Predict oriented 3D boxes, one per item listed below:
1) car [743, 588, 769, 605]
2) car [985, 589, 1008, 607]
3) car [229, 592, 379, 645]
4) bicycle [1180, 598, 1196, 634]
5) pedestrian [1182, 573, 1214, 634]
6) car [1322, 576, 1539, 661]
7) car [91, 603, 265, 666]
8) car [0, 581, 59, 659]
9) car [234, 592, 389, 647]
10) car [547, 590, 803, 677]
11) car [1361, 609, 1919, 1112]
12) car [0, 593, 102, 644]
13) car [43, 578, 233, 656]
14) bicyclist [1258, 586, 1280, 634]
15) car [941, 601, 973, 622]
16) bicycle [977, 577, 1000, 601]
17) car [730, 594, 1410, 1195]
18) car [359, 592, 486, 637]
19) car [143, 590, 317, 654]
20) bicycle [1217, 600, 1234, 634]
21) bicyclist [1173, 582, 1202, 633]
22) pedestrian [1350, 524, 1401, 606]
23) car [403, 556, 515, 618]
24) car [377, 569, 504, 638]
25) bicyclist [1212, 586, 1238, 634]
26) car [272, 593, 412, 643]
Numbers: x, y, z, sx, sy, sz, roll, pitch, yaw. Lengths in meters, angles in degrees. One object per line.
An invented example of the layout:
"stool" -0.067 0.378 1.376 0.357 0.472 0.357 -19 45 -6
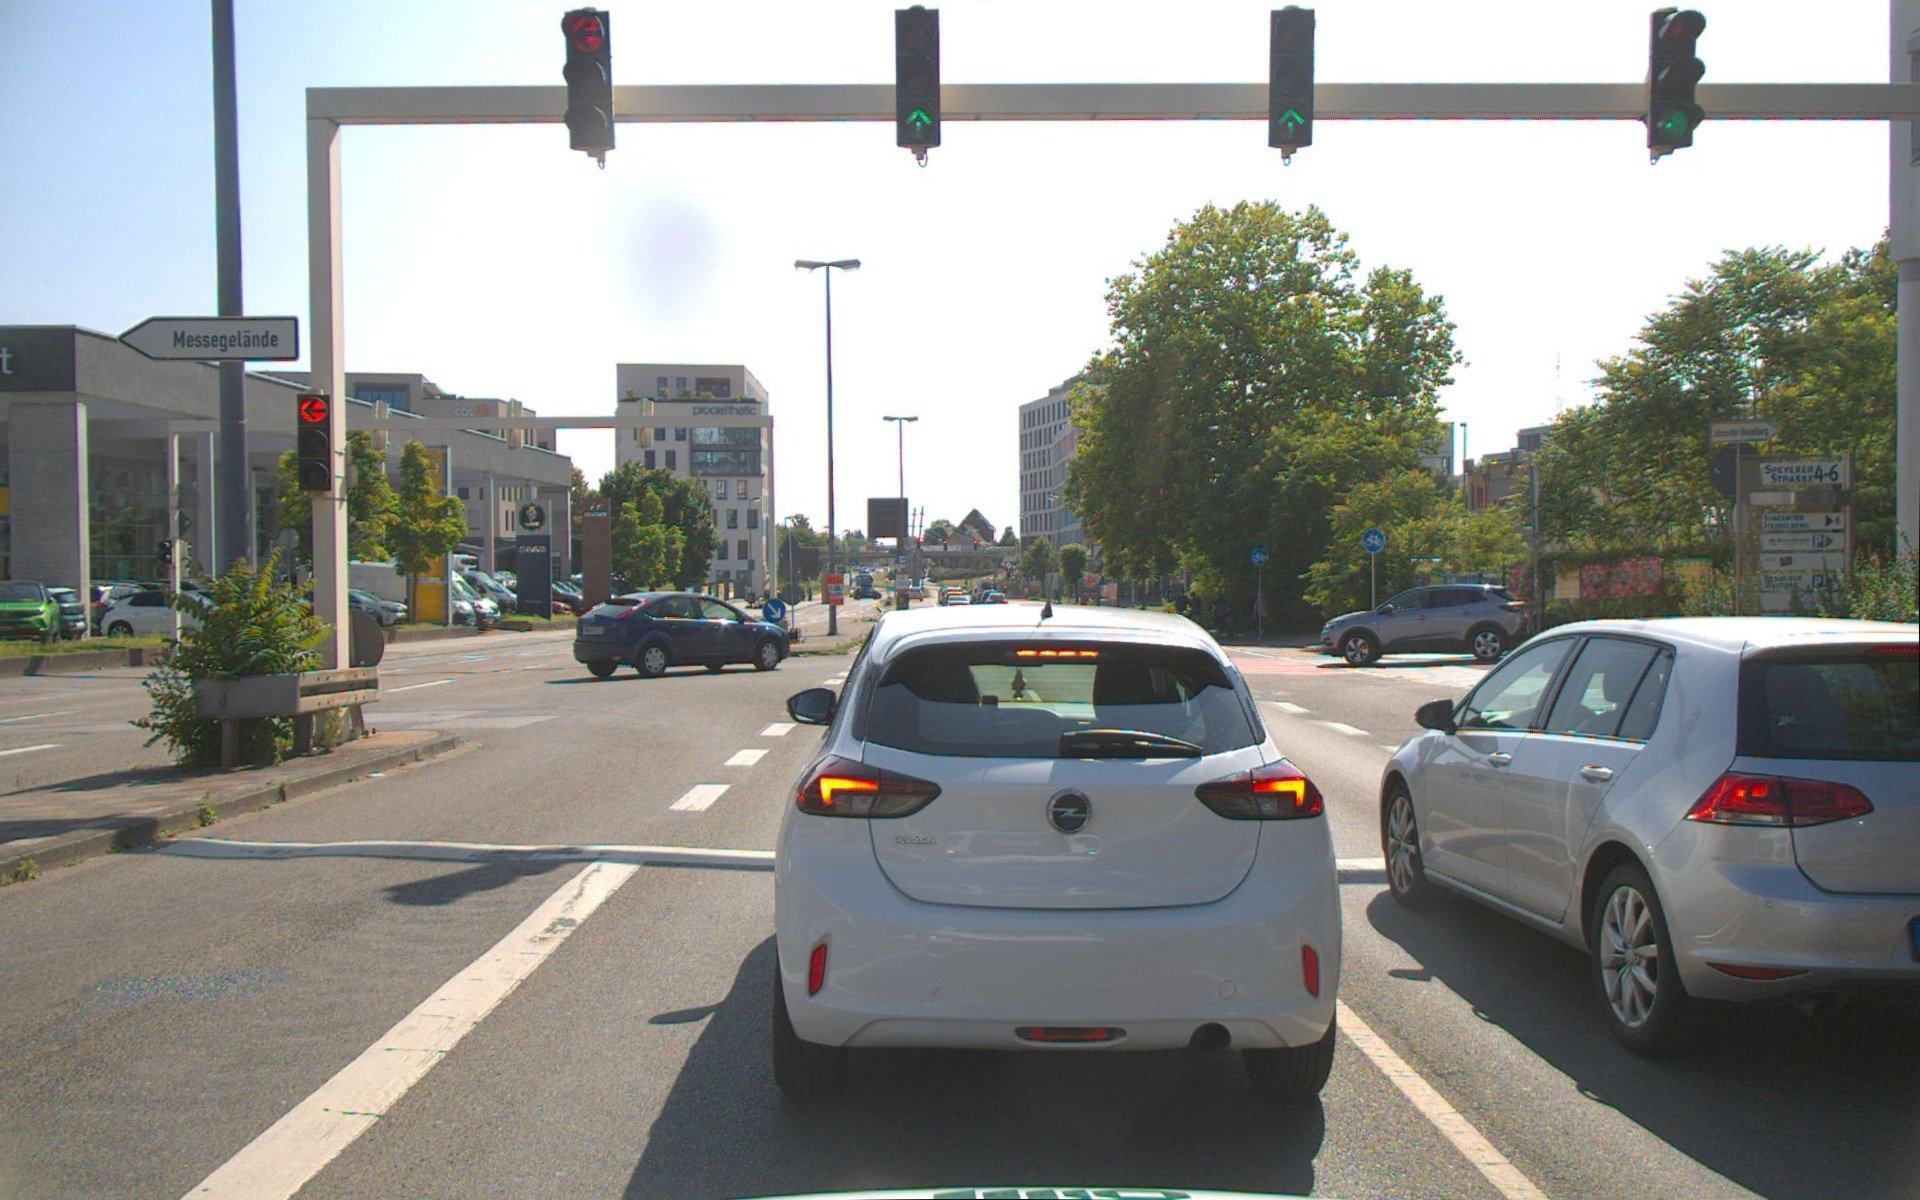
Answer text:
"car" -17.482 -0.315 141.871 1.769 1.410 3.999 1 -1 -1
"car" 2.973 -0.174 135.302 1.769 1.410 3.999 1 -1 -1
"car" -22.153 0.611 56.013 4.270 1.726 1.999 -1 0 -4
"bicycle" 8.099 0.555 58.719 0.365 1.238 1.153 1 0 -1
"pedestrian" 8.992 0.143 62.566 1.006 2.278 1.038 0 0 -1
"car" 10.177 0.401 35.730 4.327 1.578 2.001 -3 -1 19
"car" -21.636 0.933 45.904 3.912 1.627 1.997 -1 0 -8
"car" -22.562 0.495 38.939 1.887 1.764 3.250 -1 -1 -37
"car" -21.020 0.617 53.758 4.270 1.726 1.999 0 0 -3
"car" -5.173 0.576 30.410 1.966 1.472 4.341 0 0 44
"car" 3.118 0.775 6.901 1.771 1.454 3.998 -1 0 -2
"car" -26.266 0.537 45.518 4.276 1.290 1.996 -2 -1 -9
"car" -20.731 0.404 41.833 3.793 1.870 1.999 -1 0 -4
"bicyclist" 10.957 0.349 58.640 0.639 1.666 0.659 1 -1 0
"car" -0.195 0.784 113.061 1.954 1.355 3.997 1 -1 -3
"bicycle" 2.664 -1.061 155.570 1.953 2.195 3.999 -1 0 -1
"car" 0.252 0.747 6.258 1.743 1.520 3.999 -1 0 -1
"car" -21.070 0.559 64.954 4.265 1.726 2.001 -1 0 4
"car" -21.390 0.623 48.616 4.211 1.796 1.999 -1 0 -4
"bicycle" 9.290 0.602 57.812 0.366 1.167 1.034 1 -1 -3
"bicyclist" 8.072 0.271 58.717 0.861 1.803 0.863 0 0 -1
"pedestrian" 10.458 -0.871 41.692 1.006 2.049 1.038 0 0 -1
"car" -21.988 -0.580 72.702 4.265 2.646 2.001 -1 0 4
"car" -21.142 0.142 67.402 4.401 2.731 2.130 -1 0 8
"bicyclist" 9.259 0.348 57.839 0.675 1.672 0.775 0 0 -9
"car" -22.063 0.632 59.171 4.270 1.726 1.999 -1 0 -4
